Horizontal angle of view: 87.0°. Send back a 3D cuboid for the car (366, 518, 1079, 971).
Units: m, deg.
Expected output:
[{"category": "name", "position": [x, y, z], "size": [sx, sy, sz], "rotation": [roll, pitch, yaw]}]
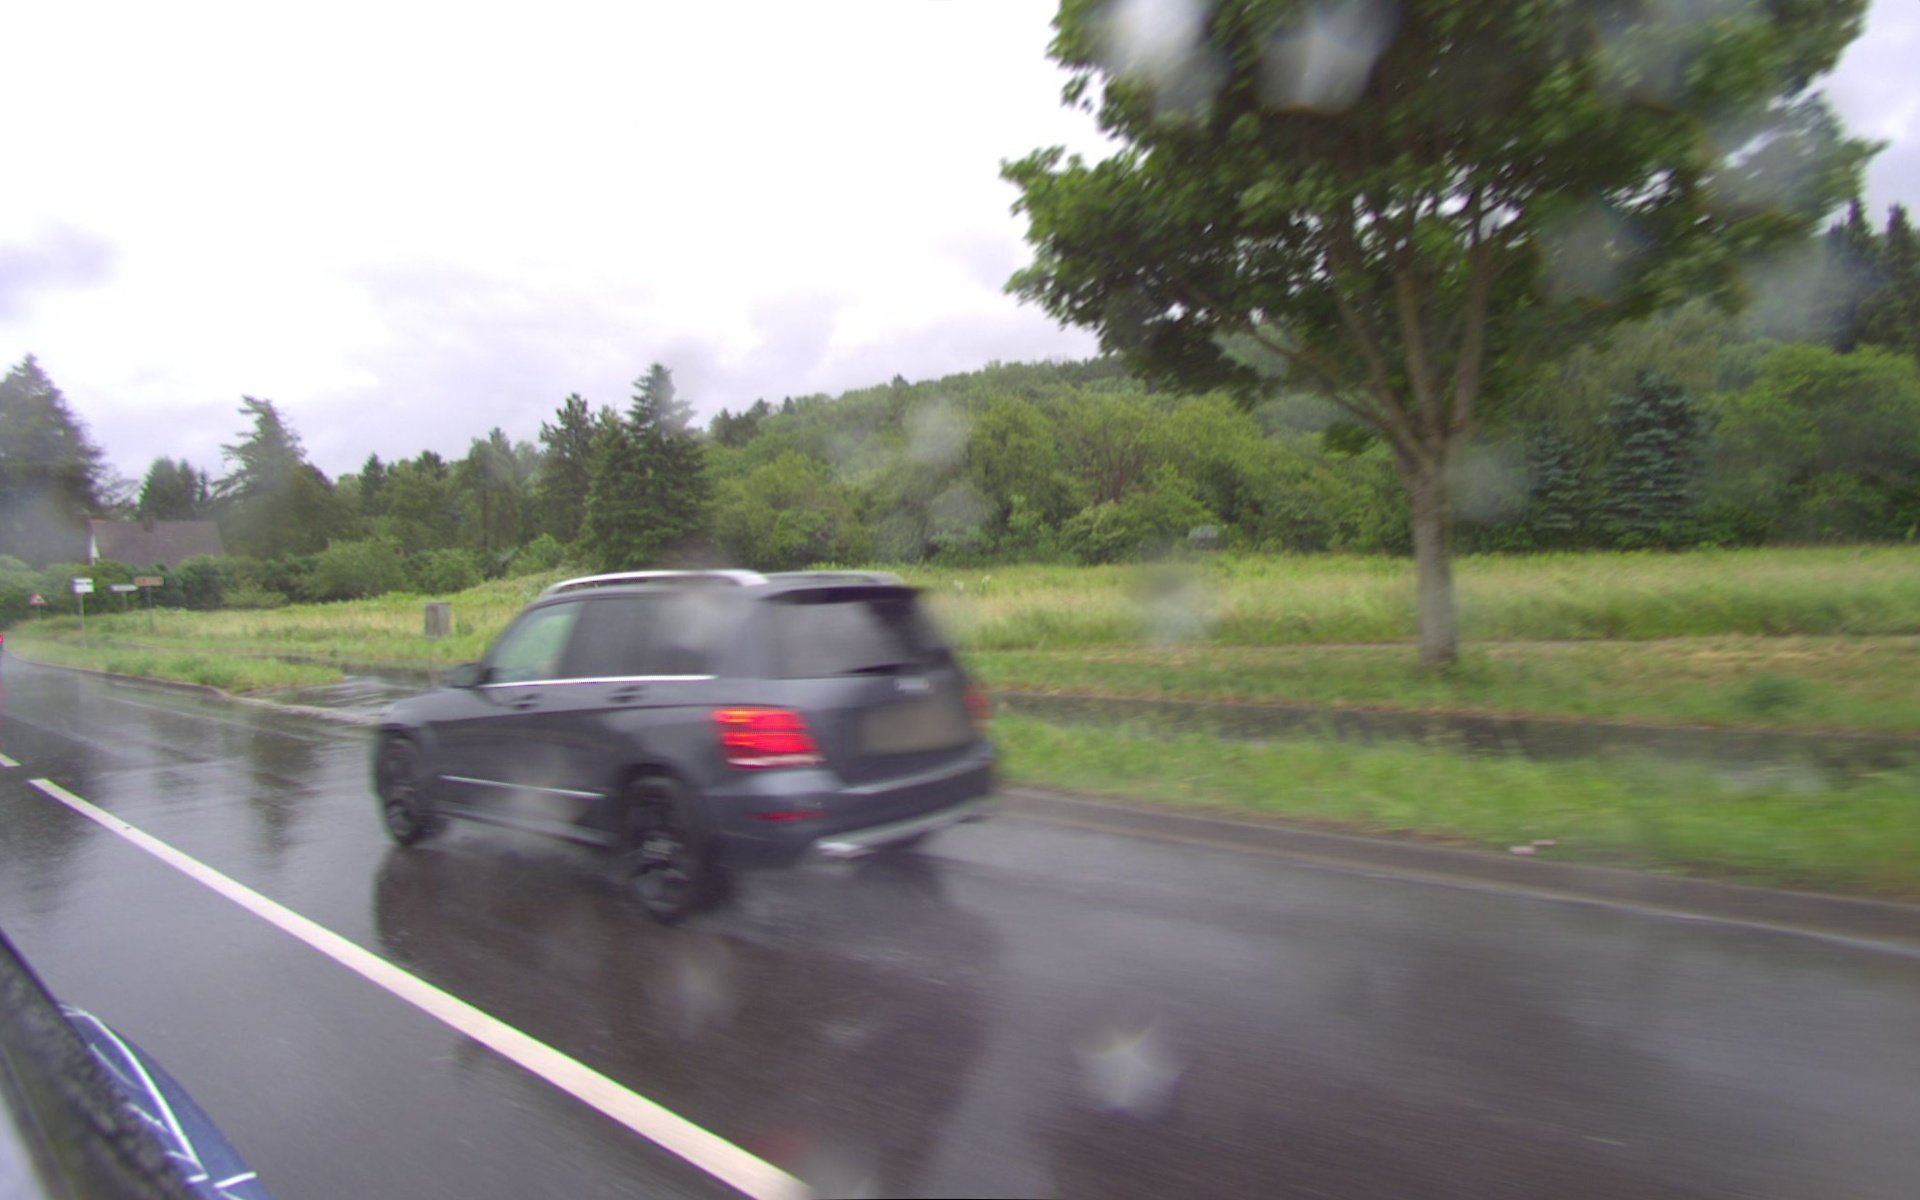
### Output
[{"category": "car", "position": [-1.587, 0.574, 5.824], "size": [4.216, 1.717, 1.725], "rotation": [-1, 0, 38]}]
